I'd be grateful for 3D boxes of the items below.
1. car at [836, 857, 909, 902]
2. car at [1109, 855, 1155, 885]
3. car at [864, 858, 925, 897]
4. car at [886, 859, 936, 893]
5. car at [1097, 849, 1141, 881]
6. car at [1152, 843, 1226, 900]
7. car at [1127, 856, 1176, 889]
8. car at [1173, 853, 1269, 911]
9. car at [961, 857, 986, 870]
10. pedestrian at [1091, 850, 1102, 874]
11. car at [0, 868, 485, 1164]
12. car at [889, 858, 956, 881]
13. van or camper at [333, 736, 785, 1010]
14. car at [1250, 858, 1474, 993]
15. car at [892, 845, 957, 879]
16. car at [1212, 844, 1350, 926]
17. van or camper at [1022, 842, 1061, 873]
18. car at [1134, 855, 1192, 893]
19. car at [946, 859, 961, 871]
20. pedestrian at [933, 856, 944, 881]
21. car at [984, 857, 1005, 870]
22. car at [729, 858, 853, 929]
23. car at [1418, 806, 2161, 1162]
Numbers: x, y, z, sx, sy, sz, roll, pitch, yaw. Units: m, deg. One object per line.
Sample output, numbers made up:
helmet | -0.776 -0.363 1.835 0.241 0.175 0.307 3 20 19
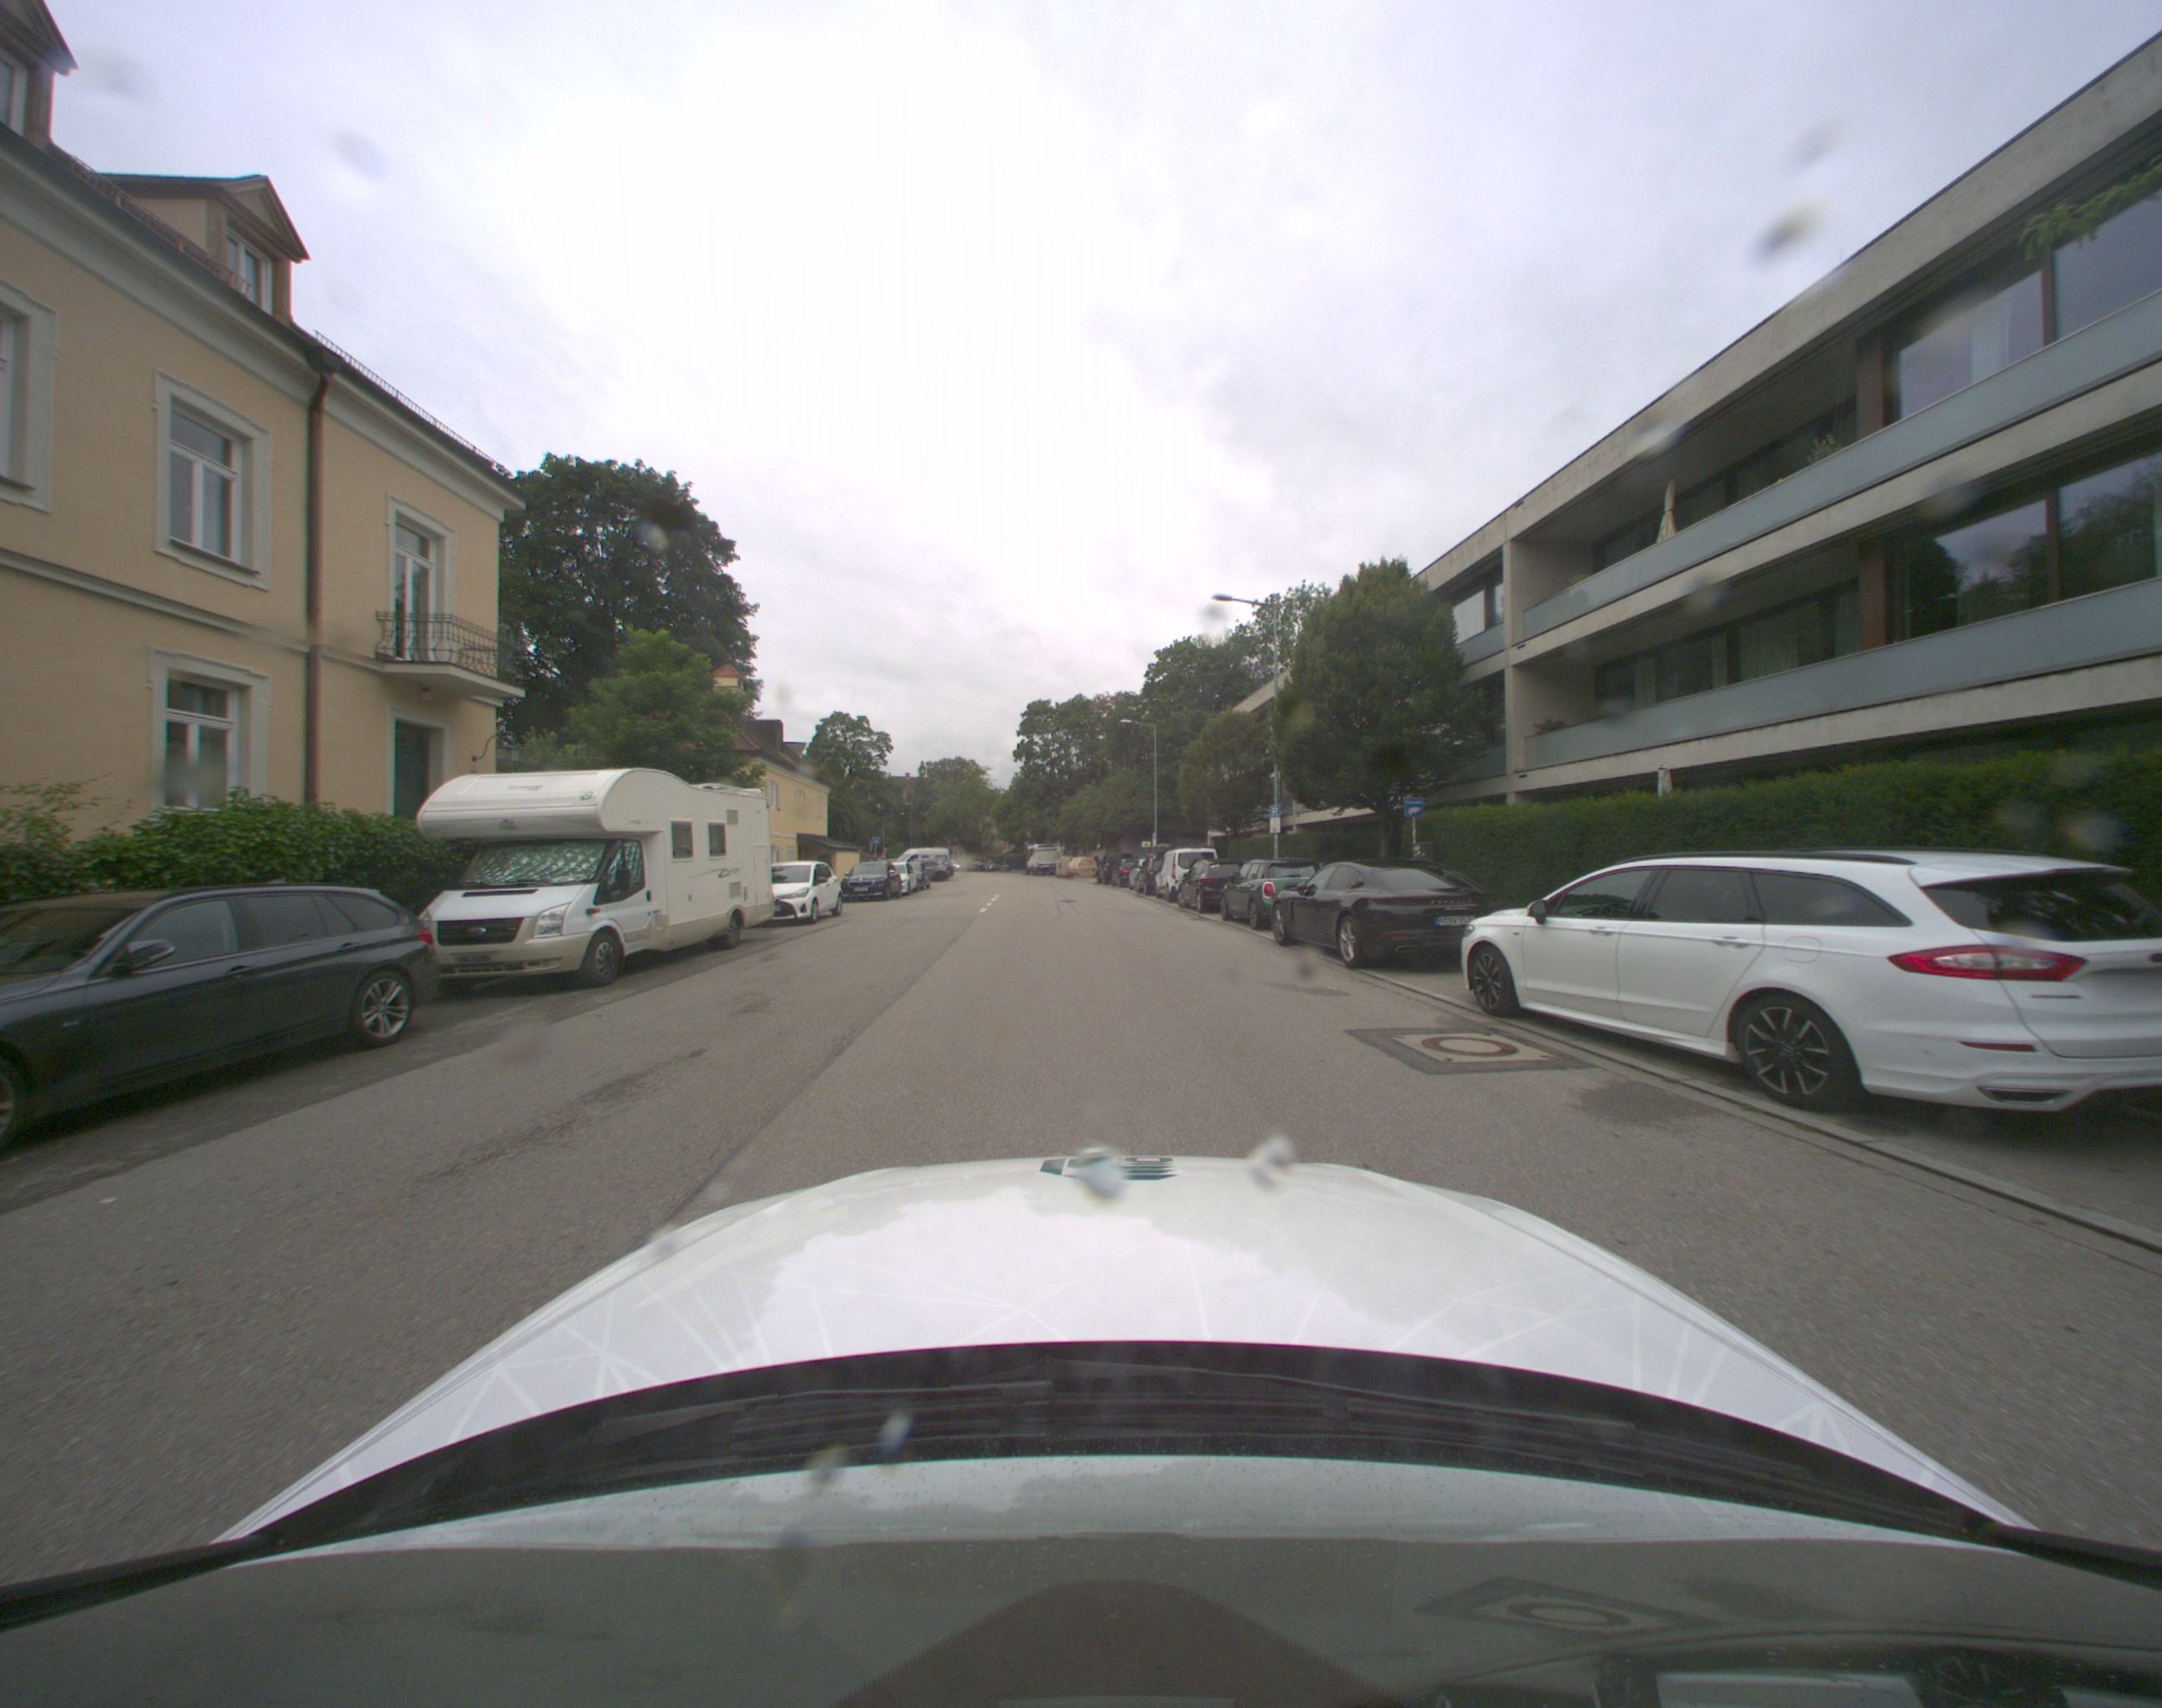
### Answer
car | -8.070 0.966 31.917 1.841 1.535 4.435 -3 -1 -3
car | 2.734 0.823 44.566 1.746 1.539 4.560 0 0 -6
car | -8.333 1.002 36.725 1.841 1.535 4.516 -3 0 -3
car | -8.616 1.054 41.628 1.842 1.535 4.554 -3 0 -5
car | 2.251 0.704 49.908 1.985 1.871 5.066 0 -1 -6
car | 3.753 0.572 29.132 1.818 1.860 4.894 1 0 -2
car | 3.292 0.847 38.877 1.744 1.480 3.882 -1 0 -4
car | 3.868 0.727 23.254 1.744 1.464 4.237 -1 0 -4
car | -15.048 1.351 113.738 2.004 1.711 4.842 -2 0 -27
pedestrian | 1.320 0.678 70.016 0.797 1.985 0.627 0 -1 -15
car | -6.815 0.938 5.706 1.932 1.508 4.814 -3 0 -4
car | -10.930 1.062 55.964 4.342 1.530 1.922 -1 -2 -18
van or camper | -7.072 0.203 12.624 2.449 2.940 7.205 -2 0 -2
car | 3.953 0.878 12.454 1.278 1.506 5.200 -3 1 -4
car | -12.816 0.631 66.699 4.659 2.563 2.209 -2 0 -38
car | 4.233 0.596 17.934 1.723 1.529 4.199 -2 0 -4
van or camper | -3.982 0.336 80.720 2.277 2.906 7.238 -1 0 -15
car | 3.377 0.769 34.263 1.744 1.480 4.592 0 0 -4
car | -15.521 1.311 98.942 1.772 1.475 4.120 0 0 -9
pedestrian | -9.668 0.956 55.233 0.590 1.648 0.711 -2 0 -13
car | -11.275 1.281 105.883 1.748 1.536 2.920 -2 -1 -27
car | -7.208 0.907 20.709 1.775 1.535 4.222 -3 0 -4
car | 4.832 0.549 6.306 1.869 1.569 4.990 -3 1 -7
